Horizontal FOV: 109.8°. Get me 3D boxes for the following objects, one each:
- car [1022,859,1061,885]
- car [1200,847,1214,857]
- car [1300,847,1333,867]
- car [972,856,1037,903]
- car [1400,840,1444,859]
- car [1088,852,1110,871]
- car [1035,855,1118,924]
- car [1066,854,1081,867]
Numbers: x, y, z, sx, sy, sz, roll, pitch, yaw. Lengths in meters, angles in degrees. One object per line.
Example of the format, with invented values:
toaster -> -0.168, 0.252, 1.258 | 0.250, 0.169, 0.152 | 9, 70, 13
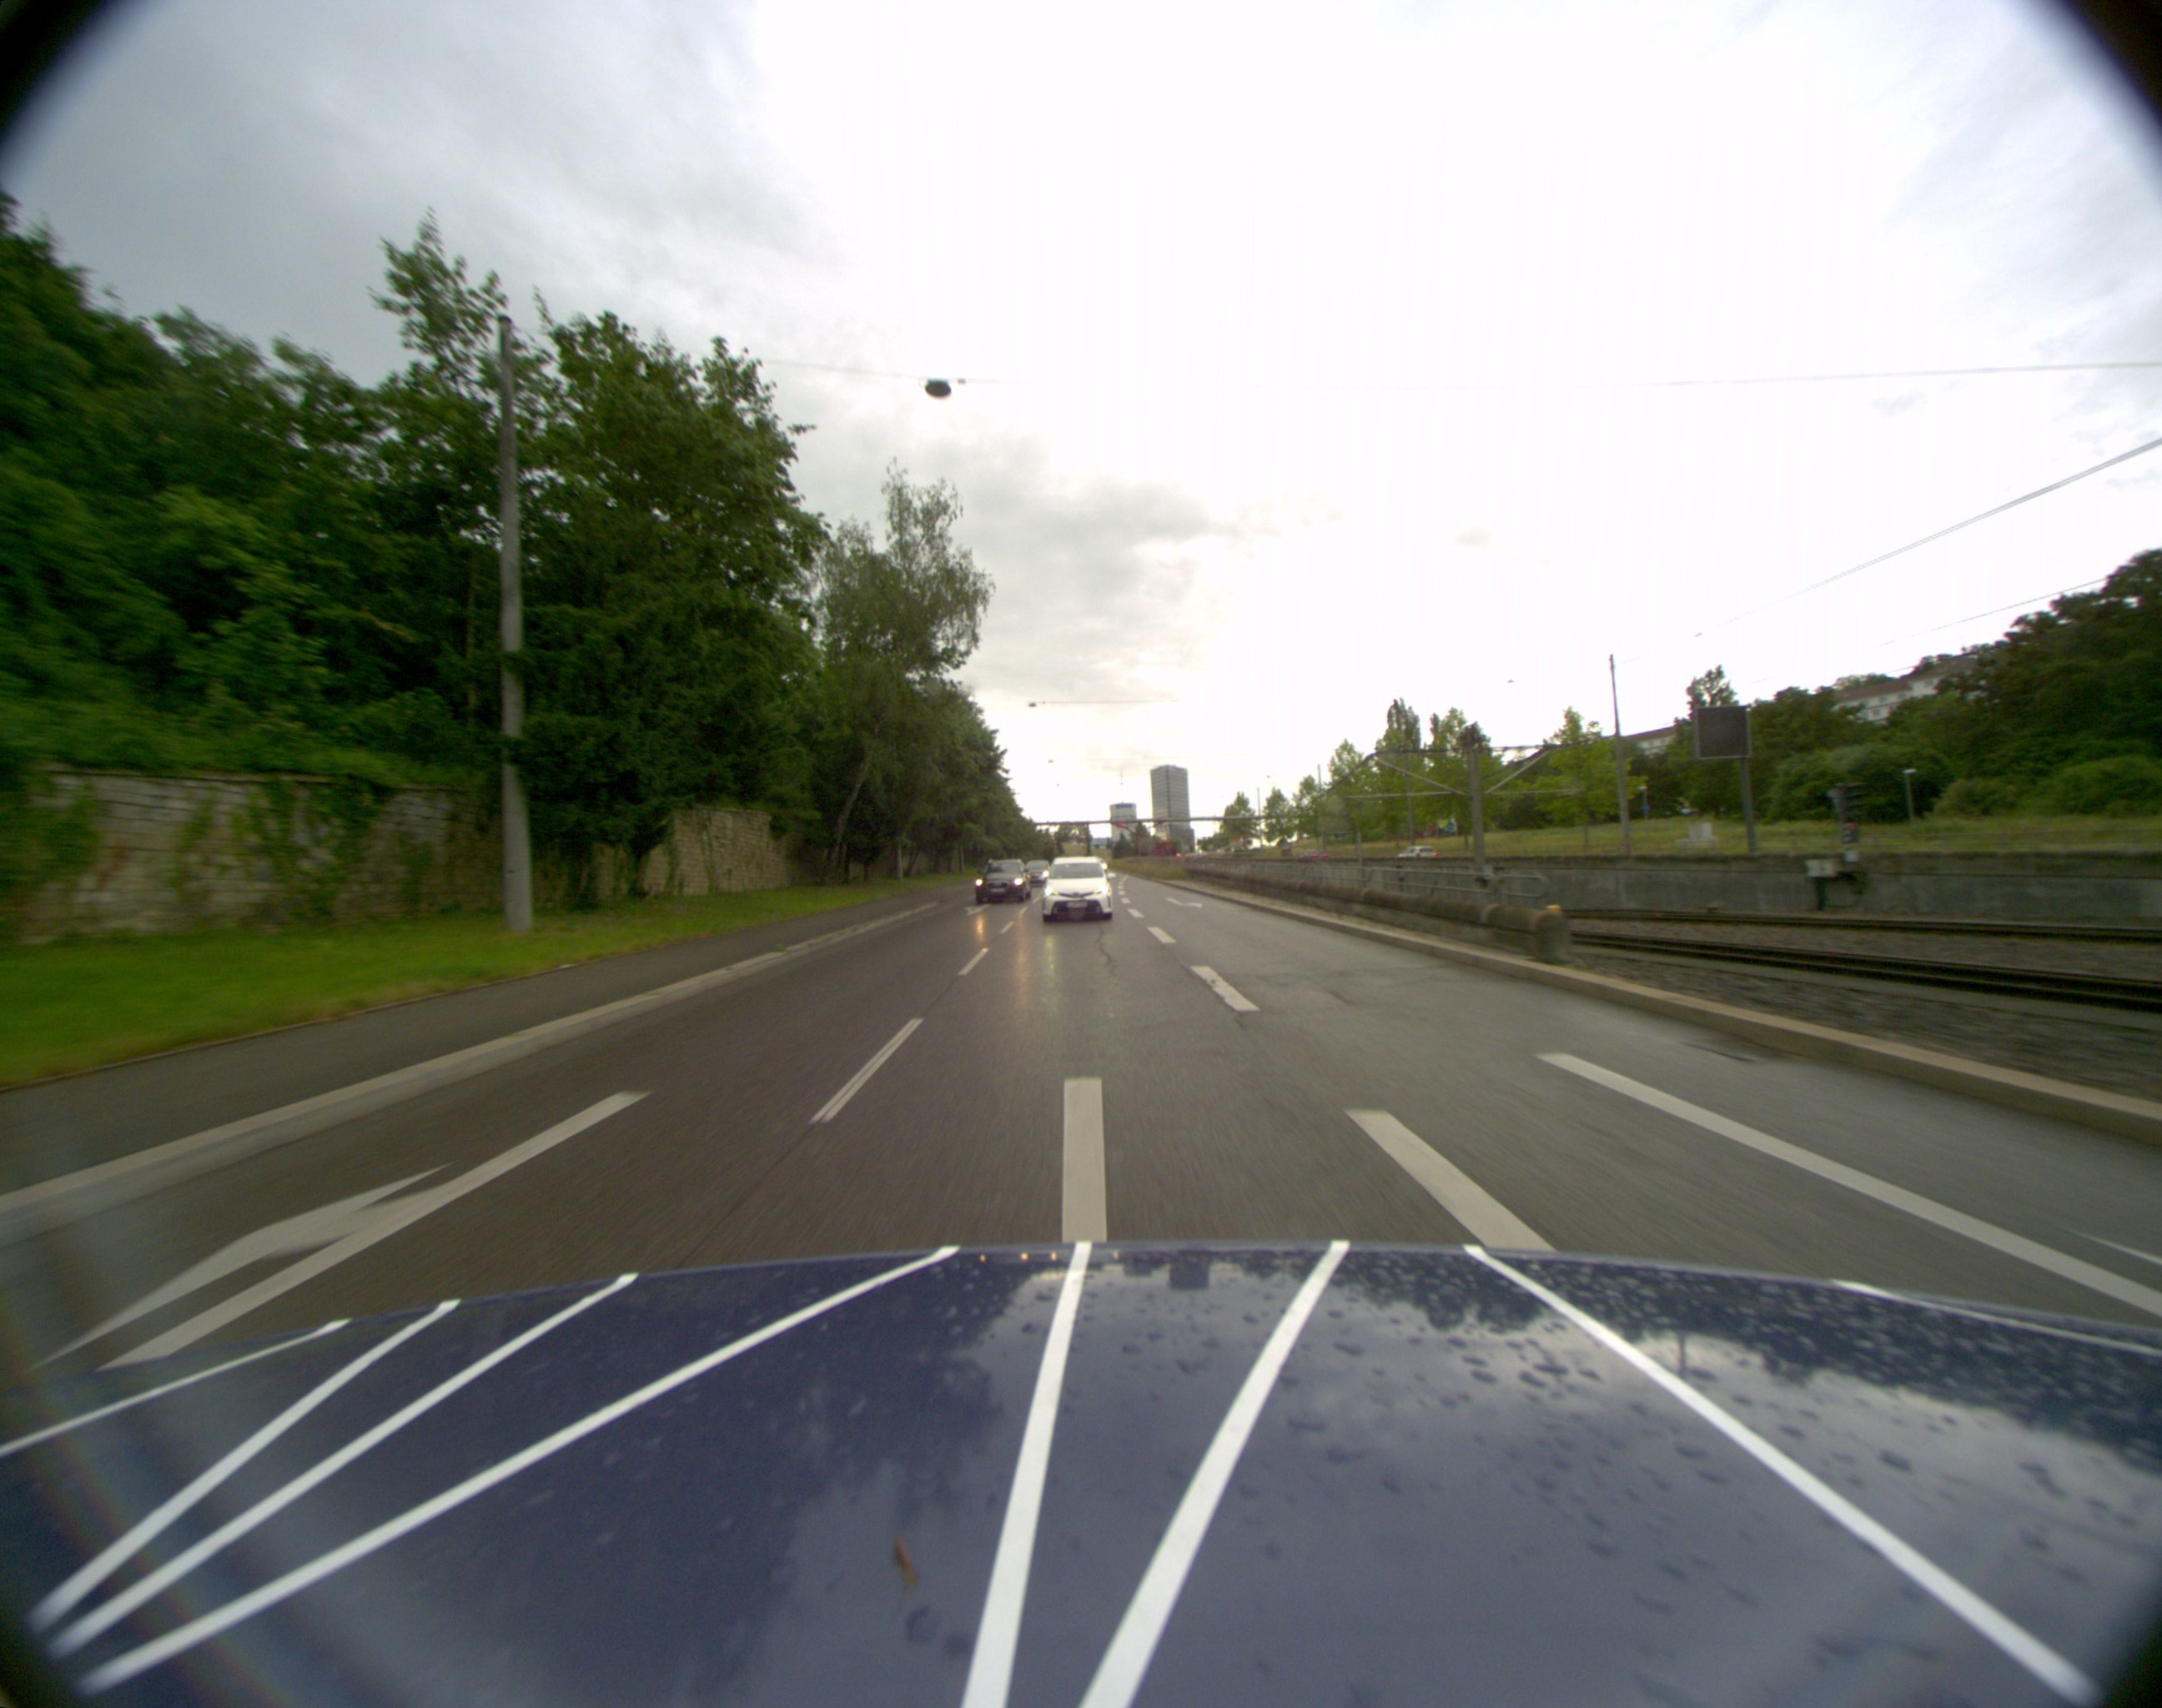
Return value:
car -> -2.323, 1.060, 45.457 | 1.845, 1.377, 4.001 | -2, 0, 3
car -> 24.776, -0.400, 149.484 | 1.895, 1.634, 4.357 | -5, 0, 0
car -> 24.719, 0.324, 79.957 | 1.896, 1.959, 4.034 | -5, 0, -3
car -> -2.884, 0.936, 29.553 | 1.927, 1.591, 4.279 | -1, 0, 1
car -> 24.697, -0.313, 55.100 | 1.559, 1.284, 3.559 | -3, -1, 1
car -> 1.838, 0.746, 75.838 | 1.998, 1.761, 4.001 | -1, -1, 3
car -> 0.001, 0.861, 20.516 | 1.924, 1.604, 4.376 | -2, 0, 3
car -> -1.101, 0.947, 114.566 | 1.998, 1.761, 4.000 | -3, 0, 0
